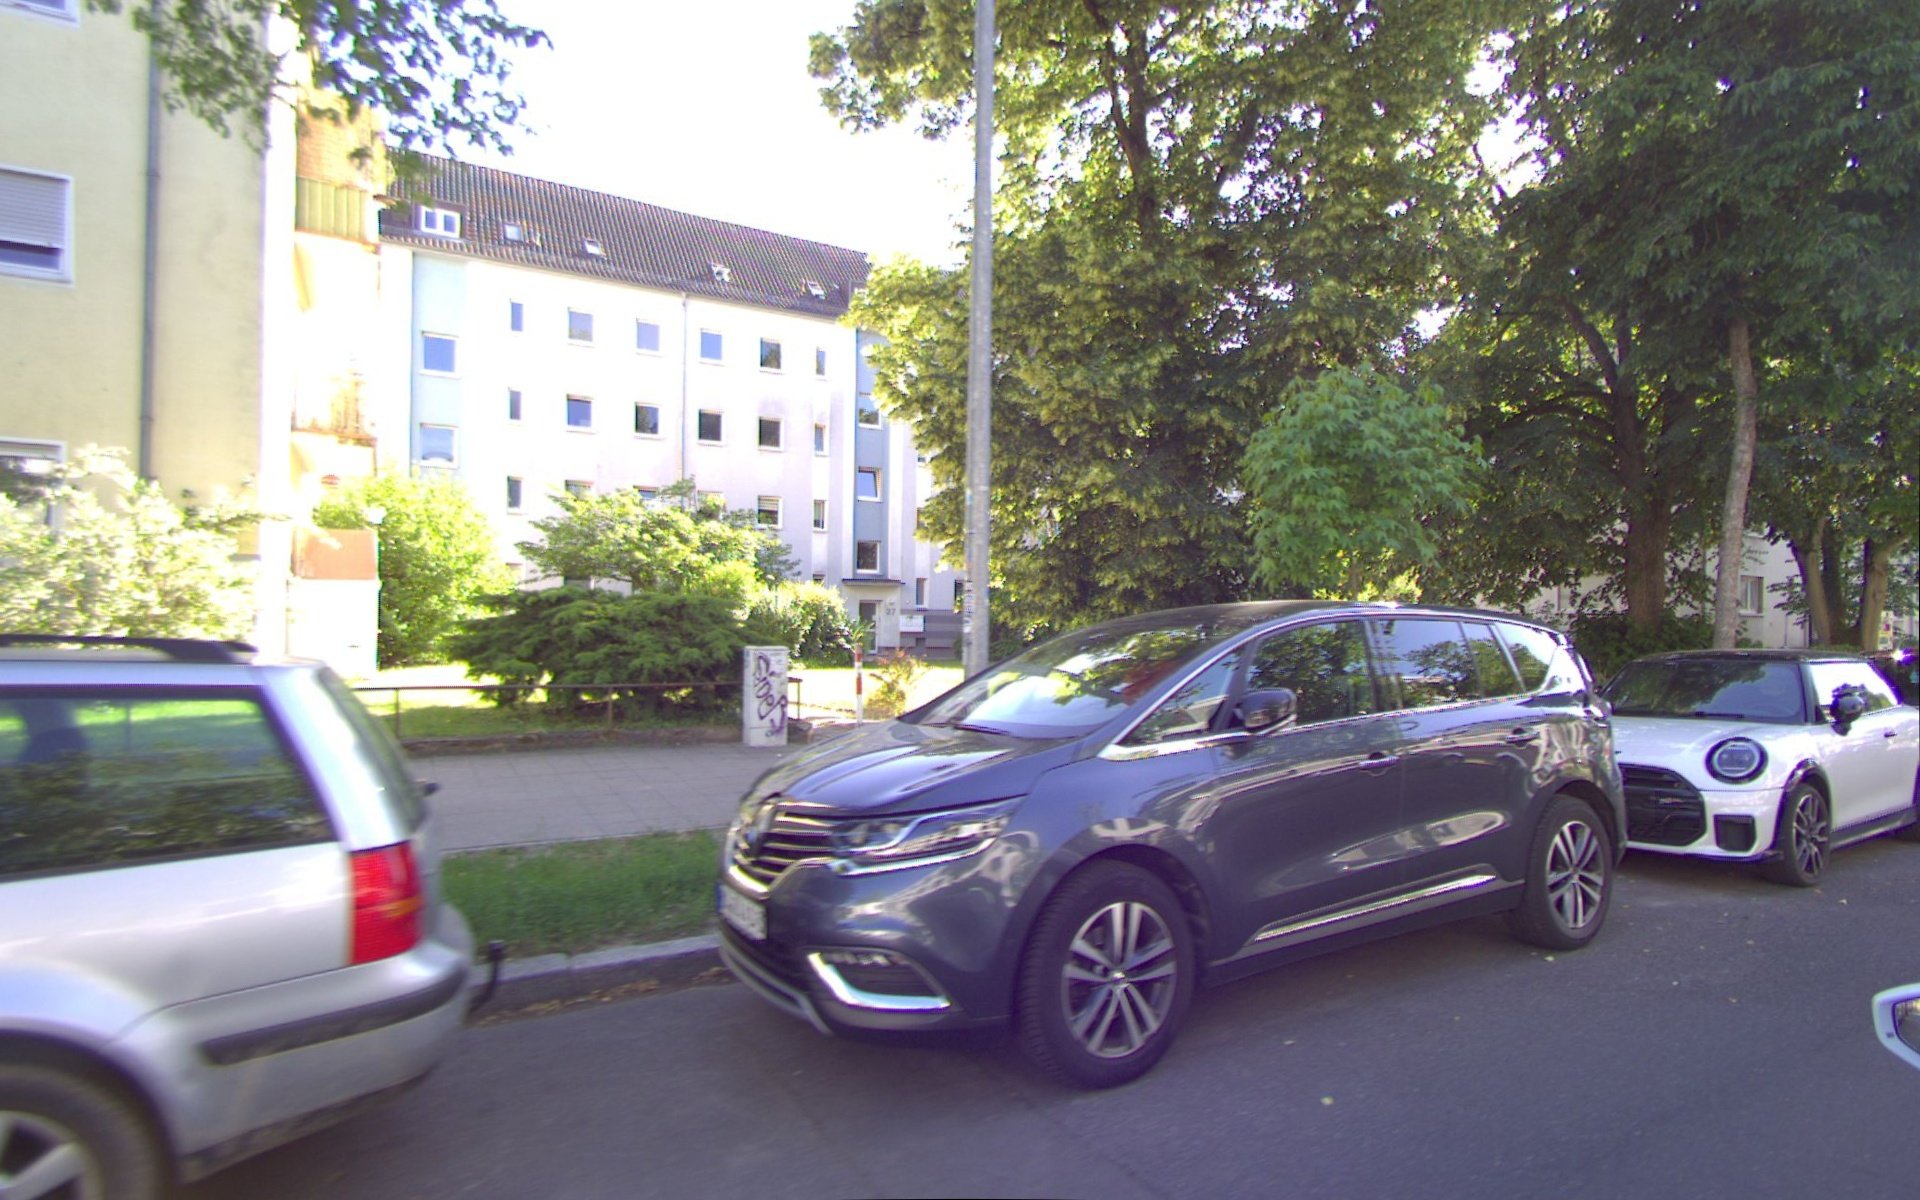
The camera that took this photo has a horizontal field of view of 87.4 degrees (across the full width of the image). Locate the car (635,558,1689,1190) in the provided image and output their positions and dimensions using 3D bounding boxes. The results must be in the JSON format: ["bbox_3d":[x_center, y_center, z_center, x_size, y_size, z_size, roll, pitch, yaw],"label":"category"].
[{"bbox_3d":[1.239,0.802,4.788,5.029,1.678,1.832,1,-2,-31],"label":"car"}]

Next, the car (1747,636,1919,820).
[{"bbox_3d":[9.491,1.122,9.760,4.024,1.524,1.645,1,-2,-32],"label":"car"}]

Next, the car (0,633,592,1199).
[{"bbox_3d":[-3.268,0.820,2.111,4.440,1.500,1.697,1,-2,-32],"label":"car"}]

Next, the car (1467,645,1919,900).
[{"bbox_3d":[5.729,1.045,7.436,4.143,1.391,1.645,1,-2,-32],"label":"car"}]
